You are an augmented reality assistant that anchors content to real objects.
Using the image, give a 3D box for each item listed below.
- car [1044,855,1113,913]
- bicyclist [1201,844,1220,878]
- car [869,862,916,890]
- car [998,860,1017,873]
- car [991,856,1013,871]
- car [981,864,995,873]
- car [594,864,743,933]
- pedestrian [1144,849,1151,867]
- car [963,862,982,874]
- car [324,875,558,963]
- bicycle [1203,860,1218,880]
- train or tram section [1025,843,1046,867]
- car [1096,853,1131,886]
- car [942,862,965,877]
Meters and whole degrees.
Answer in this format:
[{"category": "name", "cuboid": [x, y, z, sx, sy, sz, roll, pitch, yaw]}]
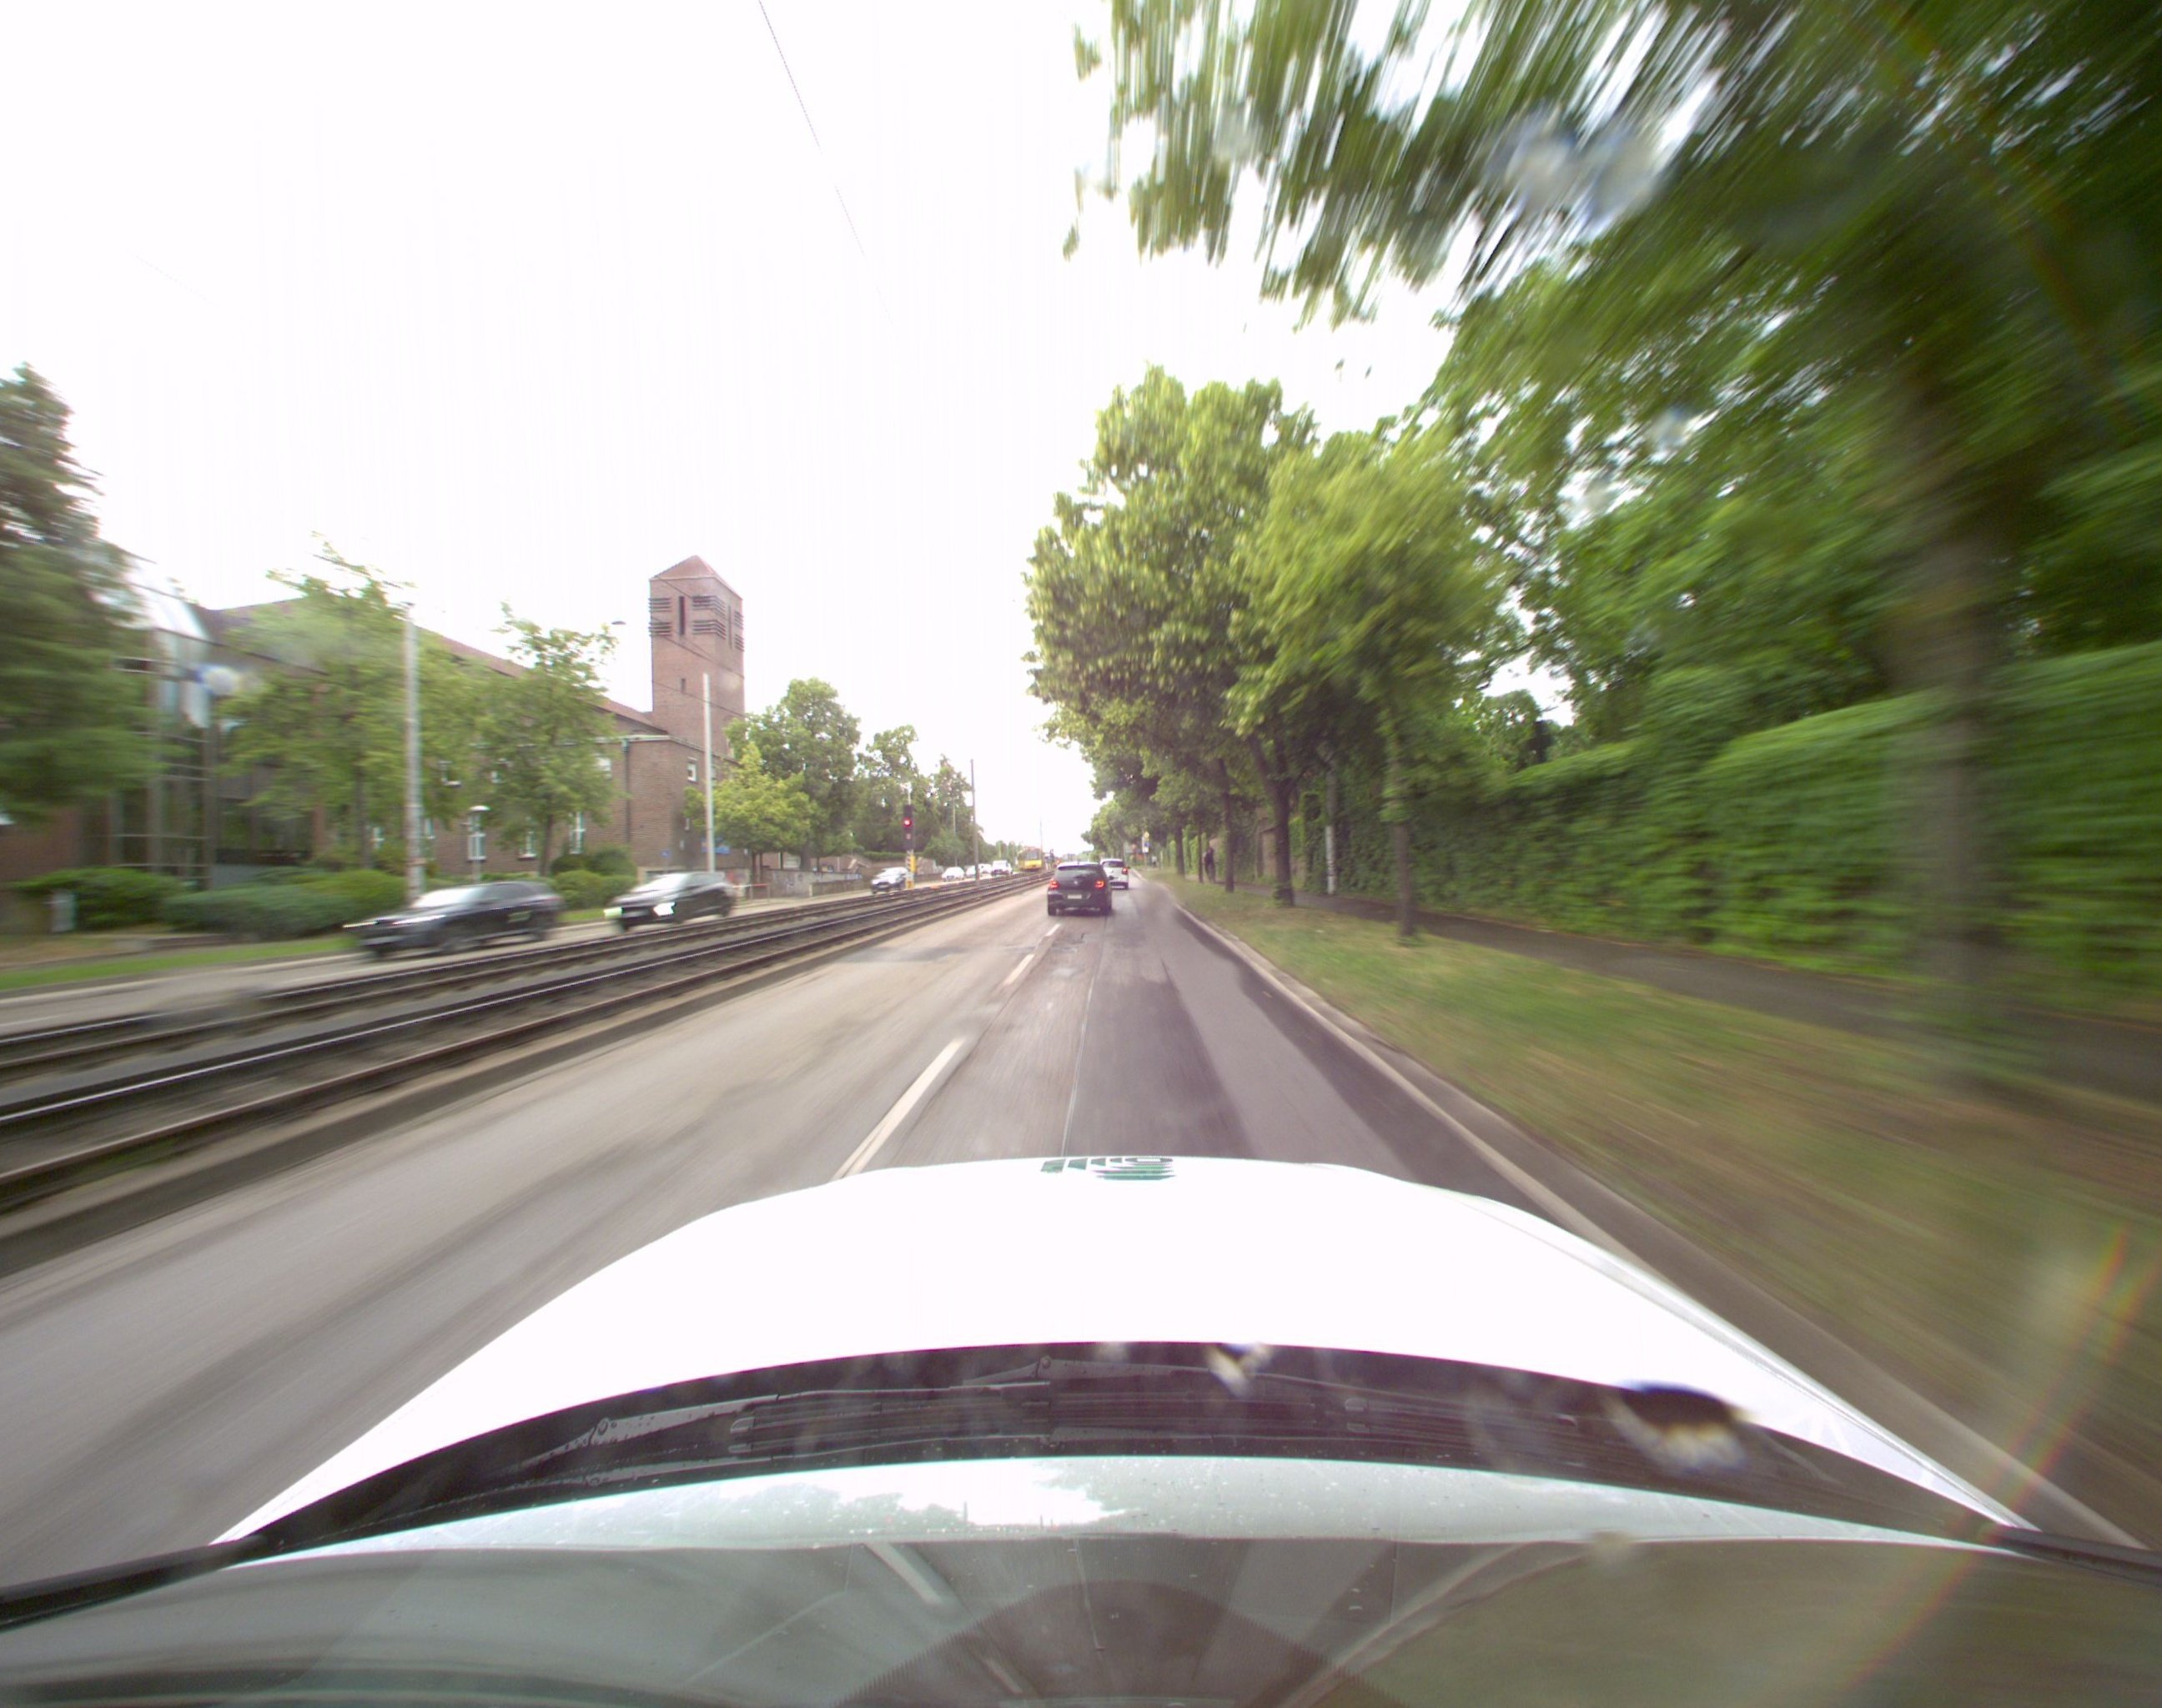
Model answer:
[{"category": "car", "cuboid": [-0.038, 0.788, 23.404, 1.787, 1.485, 3.965, -1, 0, 1]}, {"category": "bicyclist", "cuboid": [6.368, 0.337, 40.157, 0.760, 1.616, 0.999, -2, 0, 2]}, {"category": "car", "cuboid": [-10.949, 1.271, 47.438, 1.674, 1.461, 3.611, -2, 0, 3]}, {"category": "car", "cuboid": [-9.948, 1.646, 109.851, 1.986, 1.576, 4.537, -1, 0, 2]}, {"category": "car", "cuboid": [-9.642, 1.135, 99.590, 1.986, 1.662, 5.128, -1, 0, 2]}, {"category": "car", "cuboid": [-13.425, 2.067, 117.594, 1.553, 1.338, 3.650, -1, -1, 2]}, {"category": "car", "cuboid": [-11.754, 1.198, 23.586, 1.826, 1.656, 4.245, -3, 0, 5]}, {"category": "pedestrian", "cuboid": [10.901, 0.703, 133.714, 1.159, 2.977, 0.948, -1, 0, 1]}, {"category": "car", "cuboid": [-13.499, 1.719, 101.372, 1.722, 1.443, 4.002, -1, 0, 2]}, {"category": "car", "cuboid": [-15.130, 1.447, 19.677, 2.007, 1.656, 4.614, -3, 0, -2]}, {"category": "bicycle", "cuboid": [6.378, 0.792, 40.152, 0.406, 0.902, 2.100, -2, 0, 2]}, {"category": "train or tram section", "cuboid": [-6.985, 0.132, 125.502, 2.823, 3.605, 9.267, -1, 0, -1]}, {"category": "car", "cuboid": [1.678, 0.764, 42.045, 1.669, 1.531, 3.724, -2, 0, 3]}, {"category": "car", "cuboid": [-13.433, 1.636, 85.916, 1.610, 1.434, 4.002, -1, 0, 2]}]
